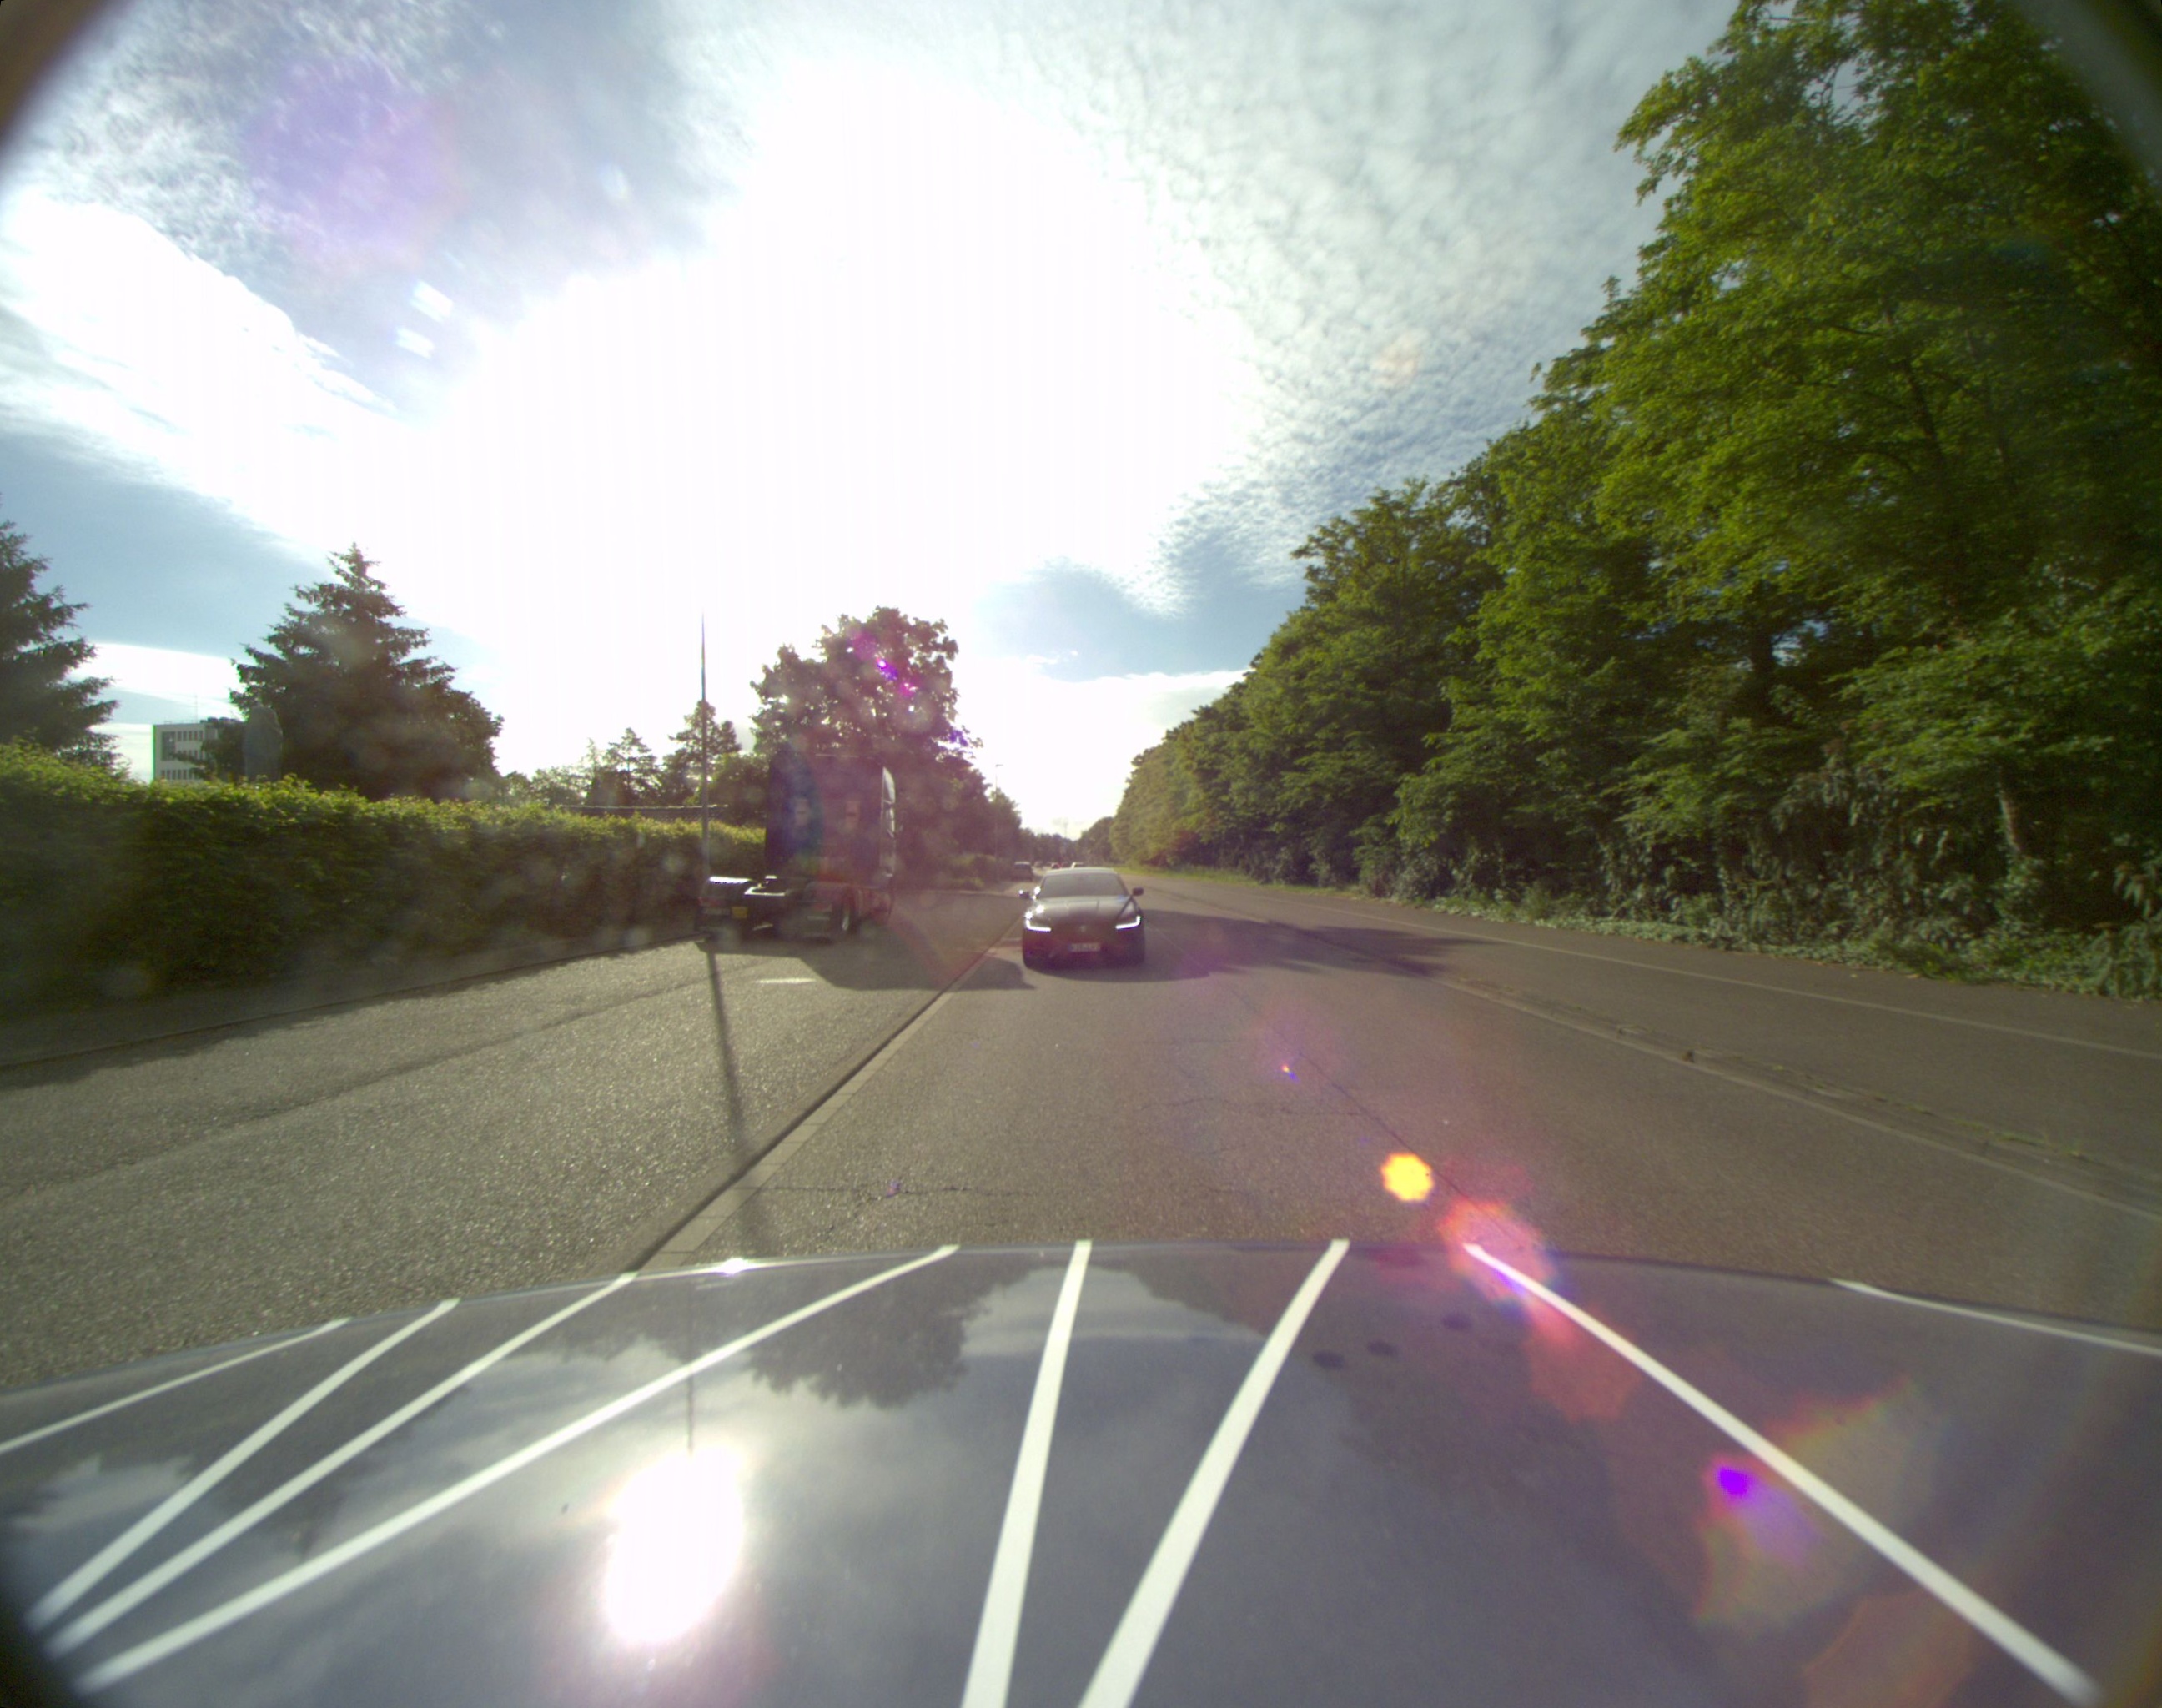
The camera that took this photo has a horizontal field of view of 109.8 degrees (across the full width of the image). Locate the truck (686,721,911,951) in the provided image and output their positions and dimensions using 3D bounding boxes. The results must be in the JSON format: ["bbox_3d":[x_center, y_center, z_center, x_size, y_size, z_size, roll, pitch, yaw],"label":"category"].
[{"bbox_3d":[-5.680,-0.282,16.554,2.602,3.935,6.282,3,0,-2],"label":"truck"}]

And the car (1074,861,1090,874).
[{"bbox_3d":[0.084,1.561,88.438,1.751,1.380,3.861,1,0,-2],"label":"car"}]

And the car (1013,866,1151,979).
[{"bbox_3d":[0.030,1.007,13.139,1.936,1.500,4.680,-1,0,0],"label":"car"}]

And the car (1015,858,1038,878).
[{"bbox_3d":[-4.458,1.136,62.679,1.751,1.561,3.861,1,0,-2],"label":"car"}]
